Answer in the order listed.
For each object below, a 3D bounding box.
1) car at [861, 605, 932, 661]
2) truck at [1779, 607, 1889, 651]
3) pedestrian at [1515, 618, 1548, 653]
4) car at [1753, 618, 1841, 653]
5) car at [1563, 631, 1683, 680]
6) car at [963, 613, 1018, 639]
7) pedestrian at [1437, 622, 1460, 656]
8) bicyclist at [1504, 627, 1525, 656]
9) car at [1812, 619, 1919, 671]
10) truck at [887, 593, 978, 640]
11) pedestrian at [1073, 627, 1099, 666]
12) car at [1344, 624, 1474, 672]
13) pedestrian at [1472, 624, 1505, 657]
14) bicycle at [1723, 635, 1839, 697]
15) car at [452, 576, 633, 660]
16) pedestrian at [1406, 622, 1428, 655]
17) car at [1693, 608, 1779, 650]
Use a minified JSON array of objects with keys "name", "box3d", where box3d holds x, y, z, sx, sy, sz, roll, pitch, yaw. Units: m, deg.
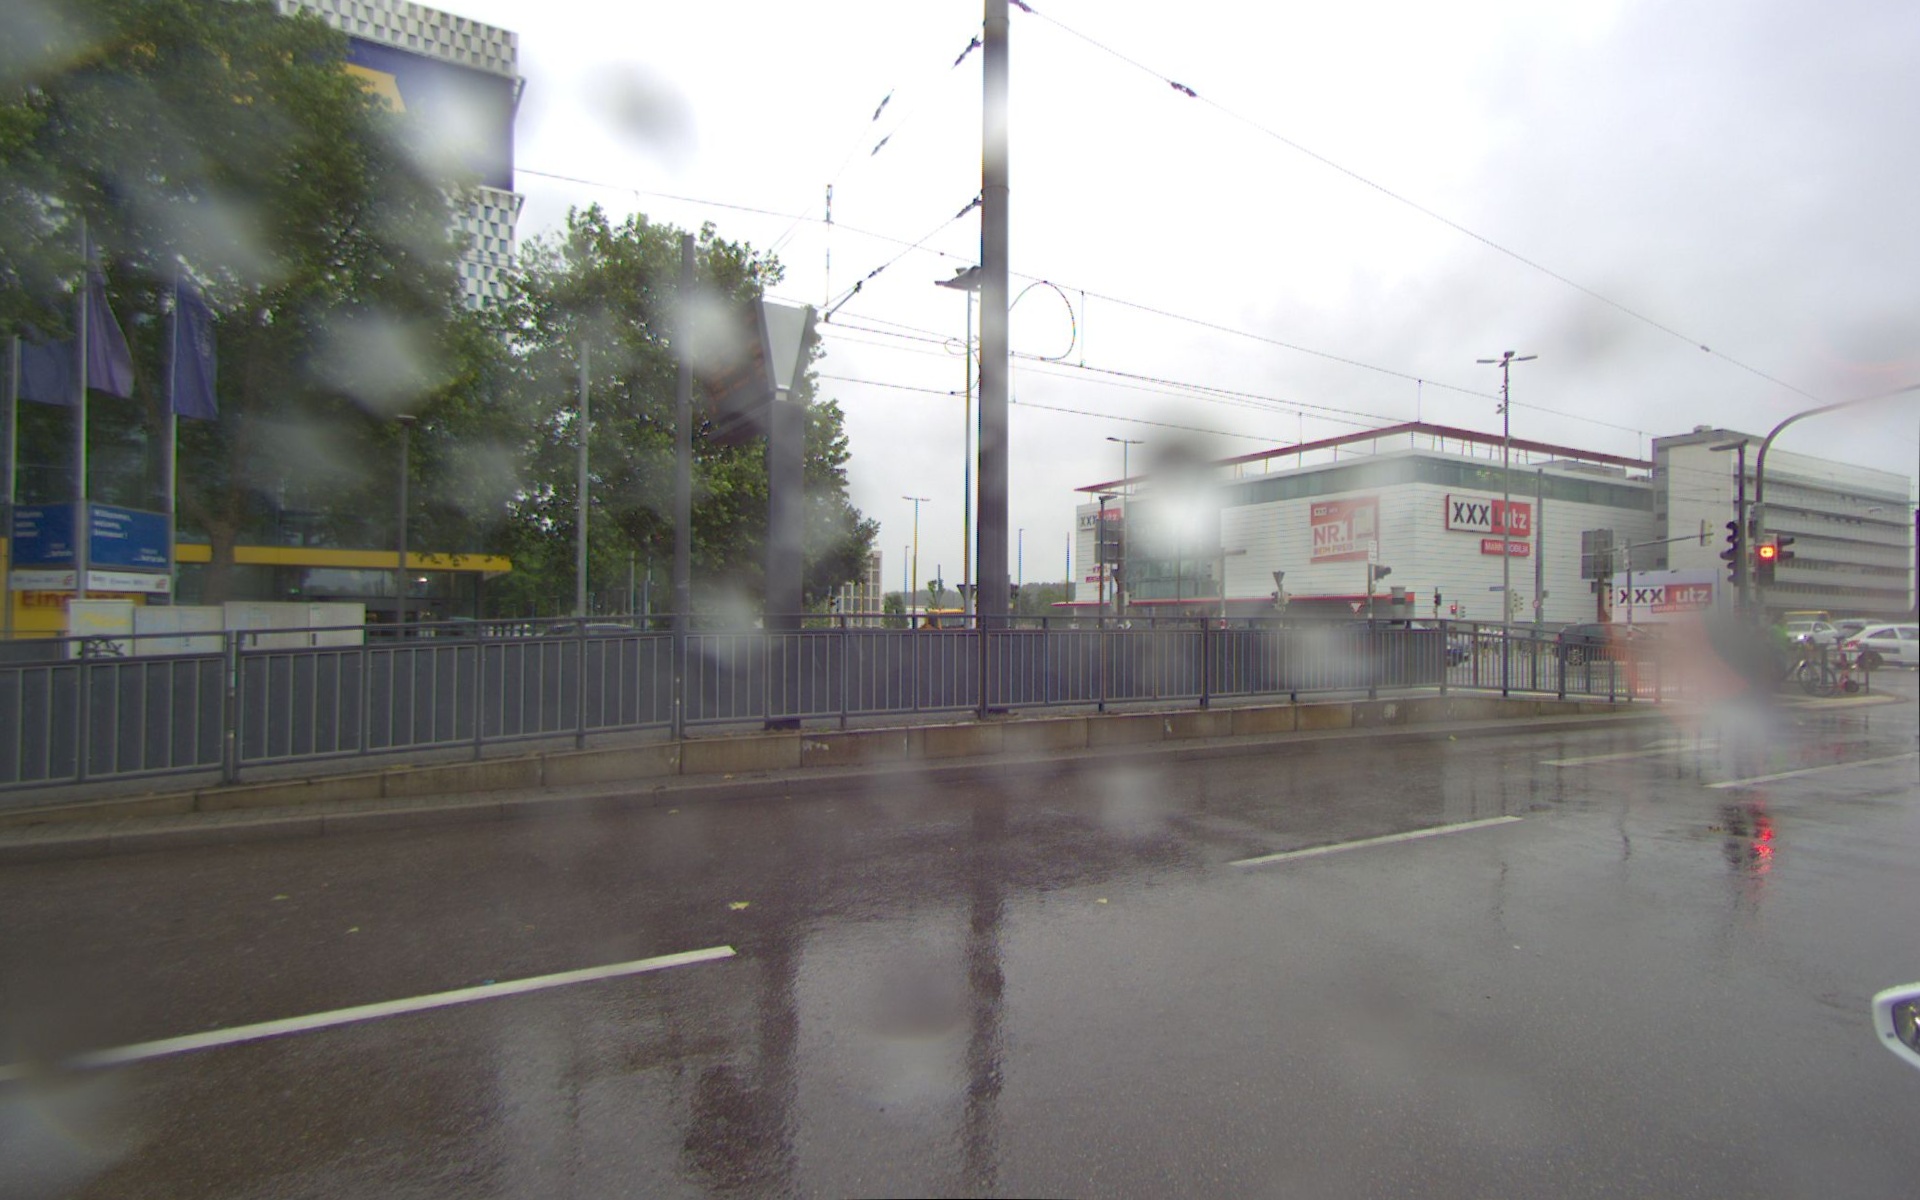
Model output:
[{"name":"car","box3d":[-2.460,1.245,39.870,1.959,2.040,4.002,2,0,8]},{"name":"truck","box3d":[49.660,1.653,57.045,7.542,2.309,2.341,2,0,-30]},{"name":"pedestrian","box3d":[27.465,1.699,48.304,0.996,1.654,0.917,2,0,-19]},{"name":"car","box3d":[39.712,1.690,47.664,3.823,1.512,1.693,2,0,-25]},{"name":"car","box3d":[22.451,1.853,34.104,3.300,1.441,1.463,2,0,34]},{"name":"car","box3d":[2.155,1.793,70.202,3.723,1.645,2.001,2,0,2]},{"name":"pedestrian","box3d":[24.290,1.918,49.983,0.914,1.654,0.694,2,0,-42]},{"name":"bicyclist","box3d":[28.345,2.117,51.325,0.639,1.483,0.681,2,0,-29]},{"name":"car","box3d":[29.538,1.430,31.724,3.641,1.523,1.620,2,0,17]},{"name":"truck","box3d":[-1.871,1.012,64.708,2.612,2.853,7.084,2,0,-31]},{"name":"pedestrian","box3d":[5.137,1.888,40.938,0.863,1.557,0.560,2,0,-31]},{"name":"car","box3d":[15.491,1.611,34.730,3.810,1.441,1.502,2,0,41]},{"name":"pedestrian","box3d":[27.683,2.127,52.630,1.067,1.654,1.023,2,0,-15]},{"name":"bicycle","box3d":[16.706,1.321,20.492,0.409,1.048,1.742,2,3,-31]},{"name":"car","box3d":[-10.979,0.471,26.520,3.968,2.040,1.977,2,0,-40]},{"name":"pedestrian","box3d":[23.296,1.943,51.227,0.914,1.654,0.694,2,0,-42]},{"name":"car","box3d":[40.388,1.527,52.292,3.947,2.040,1.987,2,0,-26]}]
